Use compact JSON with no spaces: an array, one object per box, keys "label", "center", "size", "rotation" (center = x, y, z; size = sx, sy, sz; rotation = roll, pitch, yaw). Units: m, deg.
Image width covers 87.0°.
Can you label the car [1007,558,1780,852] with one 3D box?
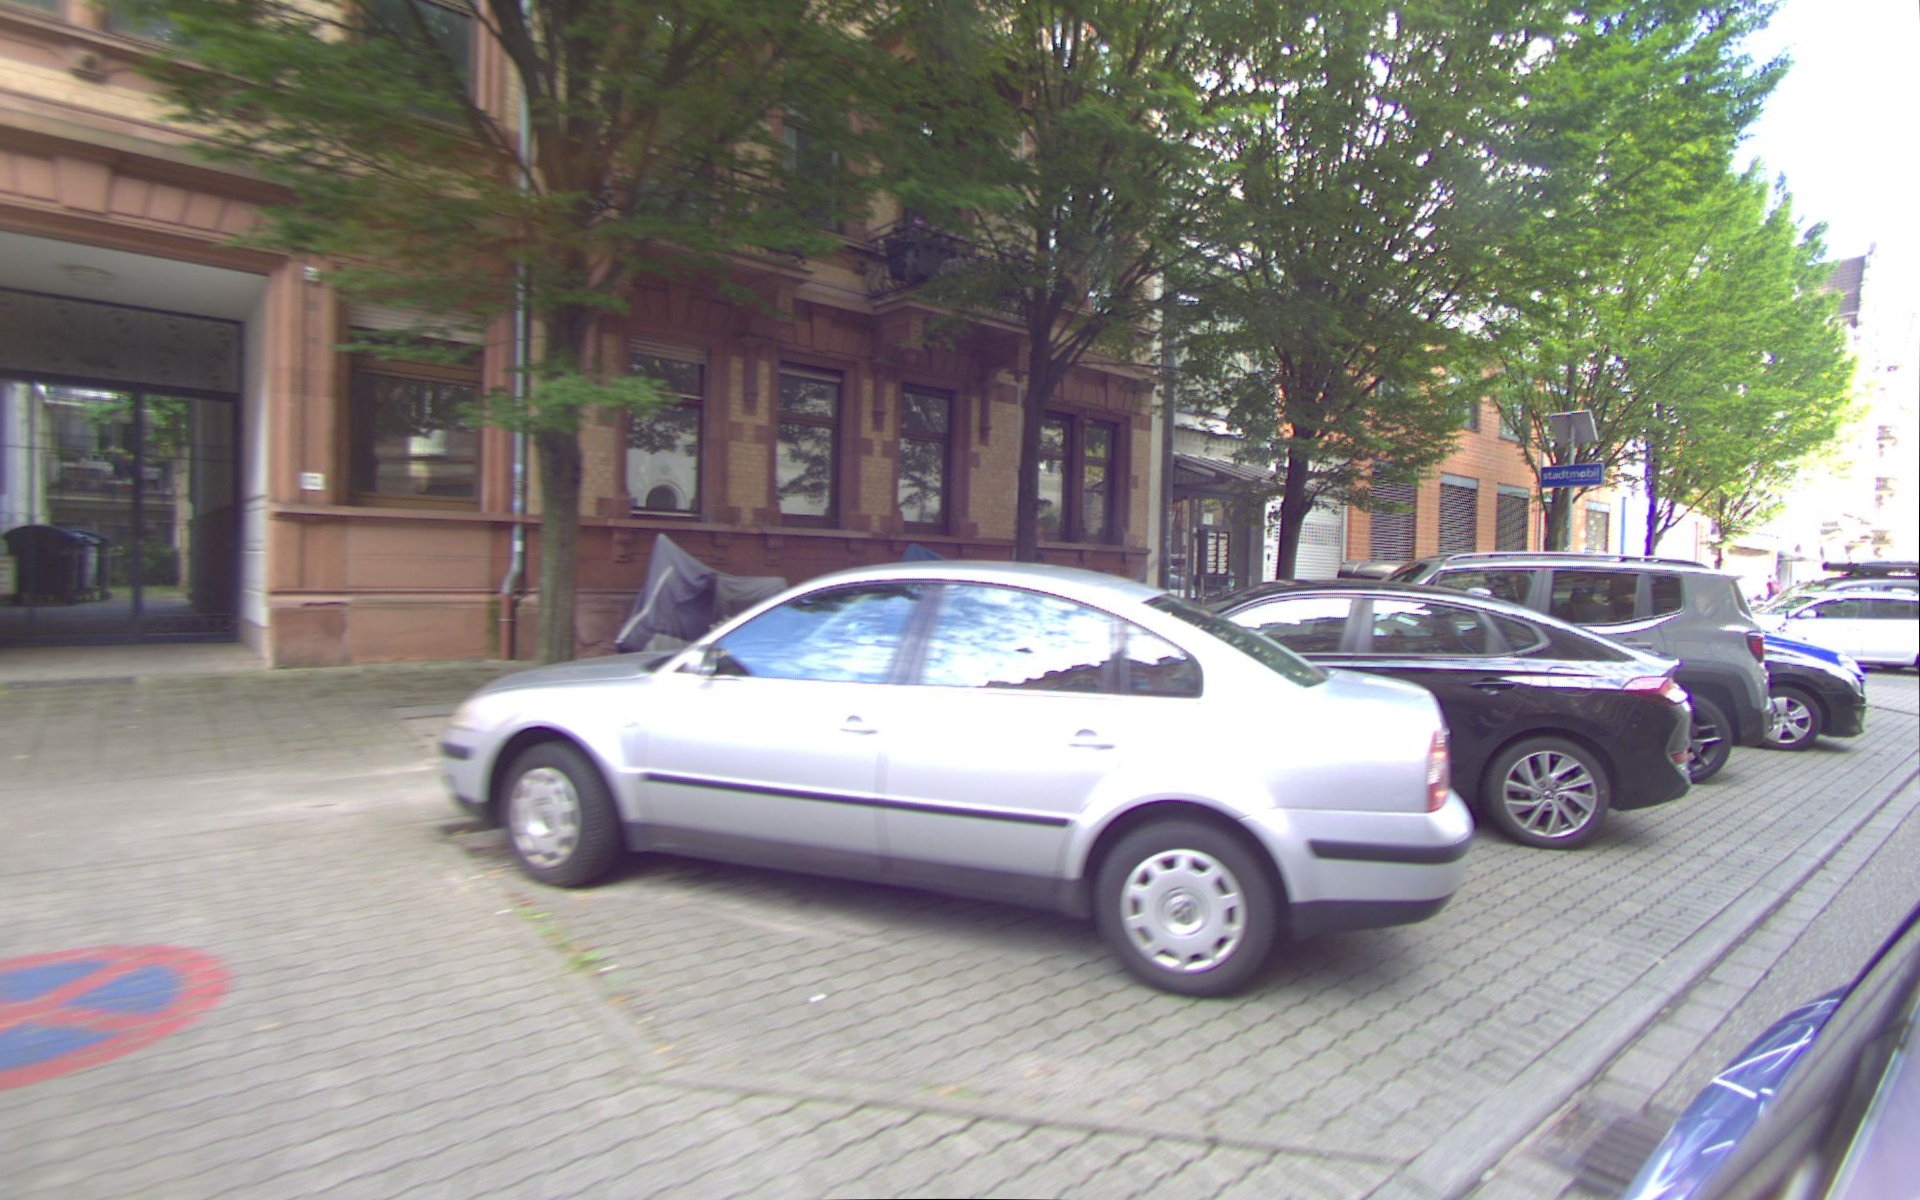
[{"label":"car","center":[2.505,0.515,6.708],"size":[4.078,1.435,1.861],"rotation":[2,1,15]}]

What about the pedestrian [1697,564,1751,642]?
[{"label":"pedestrian","center":[17.982,0.060,23.813],"size":[0.937,1.759,0.753],"rotation":[0,5,-45]}]

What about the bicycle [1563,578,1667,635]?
[{"label":"bicycle","center":[15.371,0.138,23.785],"size":[0.608,1.133,1.895],"rotation":[0,5,-42]}]

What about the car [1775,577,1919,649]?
[{"label":"car","center":[23.975,0.307,26.240],"size":[3.947,1.783,1.901],"rotation":[0,1,19]}]

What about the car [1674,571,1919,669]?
[{"label":"car","center":[16.698,0.368,19.162],"size":[4.745,1.562,1.861],"rotation":[3,3,18]}]

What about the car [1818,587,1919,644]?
[{"label":"car","center":[26.673,0.414,28.023],"size":[3.947,1.527,1.988],"rotation":[0,1,19]}]

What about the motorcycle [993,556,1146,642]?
[{"label":"motorcycle","center":[1.686,-0.026,15.238],"size":[2.448,1.202,0.895],"rotation":[0,1,-42]}]

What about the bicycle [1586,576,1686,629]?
[{"label":"bicycle","center":[16.735,0.046,25.075],"size":[0.608,1.125,1.895],"rotation":[0,5,-42]}]

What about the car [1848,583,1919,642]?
[{"label":"car","center":[28.946,0.356,29.636],"size":[3.947,1.694,1.916],"rotation":[0,1,19]}]

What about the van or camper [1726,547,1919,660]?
[{"label":"van or camper","center":[18.543,0.050,20.853],"size":[3.949,2.206,1.987],"rotation":[0,1,20]}]

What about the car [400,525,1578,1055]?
[{"label":"car","center":[-0.060,0.502,4.646],"size":[4.552,1.469,1.783],"rotation":[3,3,18]}]

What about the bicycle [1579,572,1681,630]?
[{"label":"bicycle","center":[16.285,-0.003,24.646],"size":[0.608,1.219,1.895],"rotation":[0,5,-42]}]

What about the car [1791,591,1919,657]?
[{"label":"car","center":[21.233,0.512,22.467],"size":[3.947,1.417,1.652],"rotation":[0,1,19]}]

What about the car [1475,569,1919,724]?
[{"label":"car","center":[8.581,0.447,12.267],"size":[3.956,1.456,1.712],"rotation":[4,3,23]}]

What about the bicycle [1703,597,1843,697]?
[{"label":"bicycle","center":[10.970,0.589,13.735],"size":[0.690,1.227,1.744],"rotation":[0,1,9]}]

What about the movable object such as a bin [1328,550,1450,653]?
[{"label":"movable object such as a bin","center":[7.184,-0.003,16.974],"size":[1.144,1.476,1.375],"rotation":[0,9,-43]}]

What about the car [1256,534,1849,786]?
[{"label":"car","center":[4.640,0.381,8.641],"size":[3.943,1.720,1.844],"rotation":[2,1,15]}]

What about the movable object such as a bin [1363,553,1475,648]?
[{"label":"movable object such as a bin","center":[8.014,-0.012,17.701],"size":[1.020,1.462,1.375],"rotation":[0,7,-43]}]

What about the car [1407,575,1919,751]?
[{"label":"car","center":[6.919,0.523,10.247],"size":[4.064,1.539,1.838],"rotation":[0,2,14]}]
